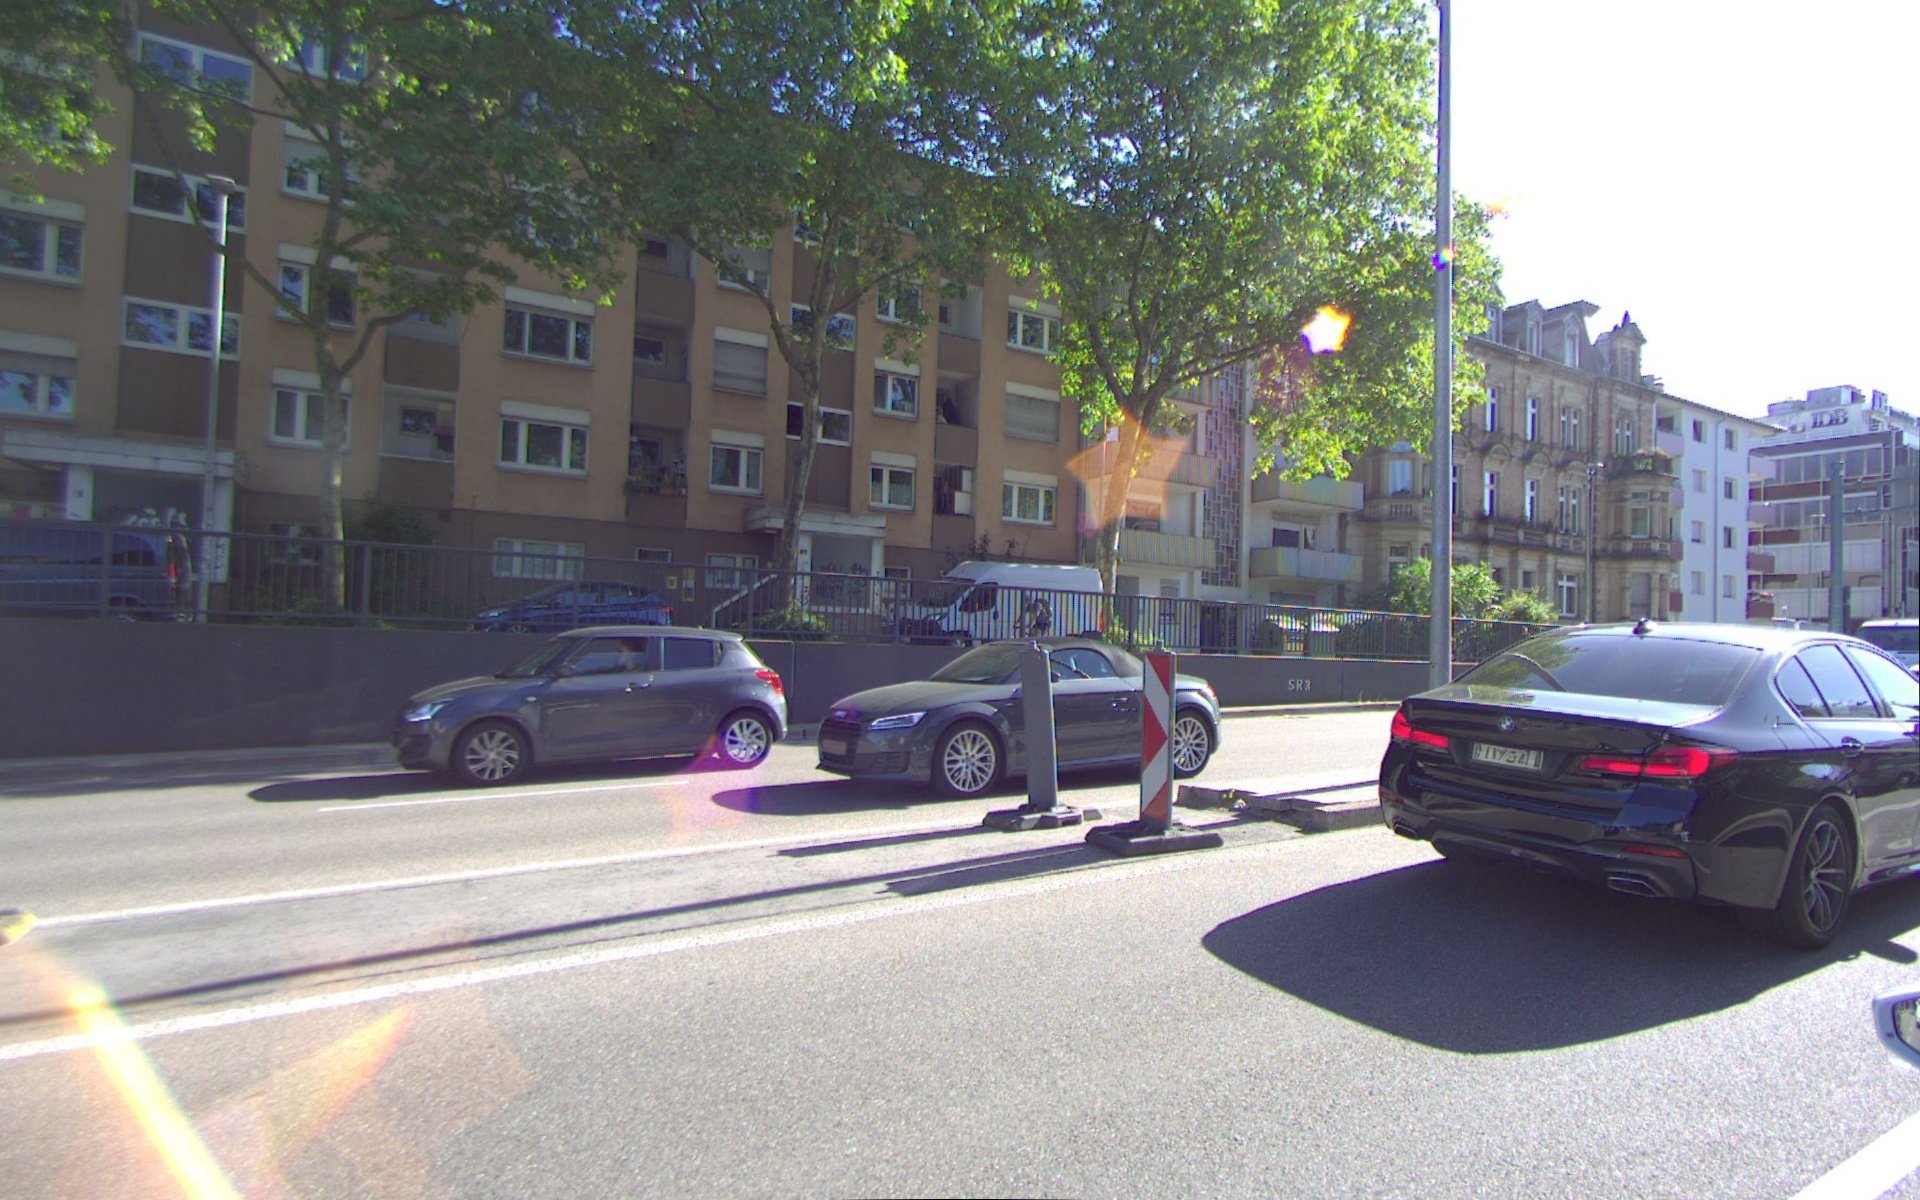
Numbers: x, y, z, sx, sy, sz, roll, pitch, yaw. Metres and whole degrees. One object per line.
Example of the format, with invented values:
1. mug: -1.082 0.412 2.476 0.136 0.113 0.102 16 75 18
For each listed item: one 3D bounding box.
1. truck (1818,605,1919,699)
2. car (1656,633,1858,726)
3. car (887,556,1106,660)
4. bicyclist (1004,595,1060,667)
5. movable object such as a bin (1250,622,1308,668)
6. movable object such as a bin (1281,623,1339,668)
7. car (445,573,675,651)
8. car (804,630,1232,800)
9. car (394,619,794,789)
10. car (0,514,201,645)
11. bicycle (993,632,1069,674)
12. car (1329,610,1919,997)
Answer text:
1. truck: 28.309 1.582 29.972 6.057 2.560 2.219 3 -3 -30
2. car: 13.948 1.372 17.556 3.568 1.476 1.601 2 -5 -32
3. car: 0.990 0.253 25.796 5.355 2.391 1.984 2 0 -30
4. bicyclist: 1.697 0.727 23.610 1.012 1.655 0.770 2 0 -34
5. movable object such as a bin: 10.507 1.478 33.096 1.286 1.421 1.273 2 0 -30
6. movable object such as a bin: 11.737 1.529 33.670 1.309 1.421 1.273 2 0 -30
7. car: -8.177 0.257 20.591 4.124 1.407 1.983 2 0 -31
8. car: 0.622 1.008 9.515 3.884 1.316 1.531 2 -4 -31
9. car: -3.722 0.993 10.407 3.675 1.484 1.531 1 -4 -32
10. car: -15.189 -0.336 16.213 4.479 1.986 1.954 2 0 -33
11. bicycle: 1.670 1.244 23.606 1.740 0.939 0.652 2 0 -34
12. car: 4.572 0.861 5.950 4.946 1.458 1.799 2 0 -32
